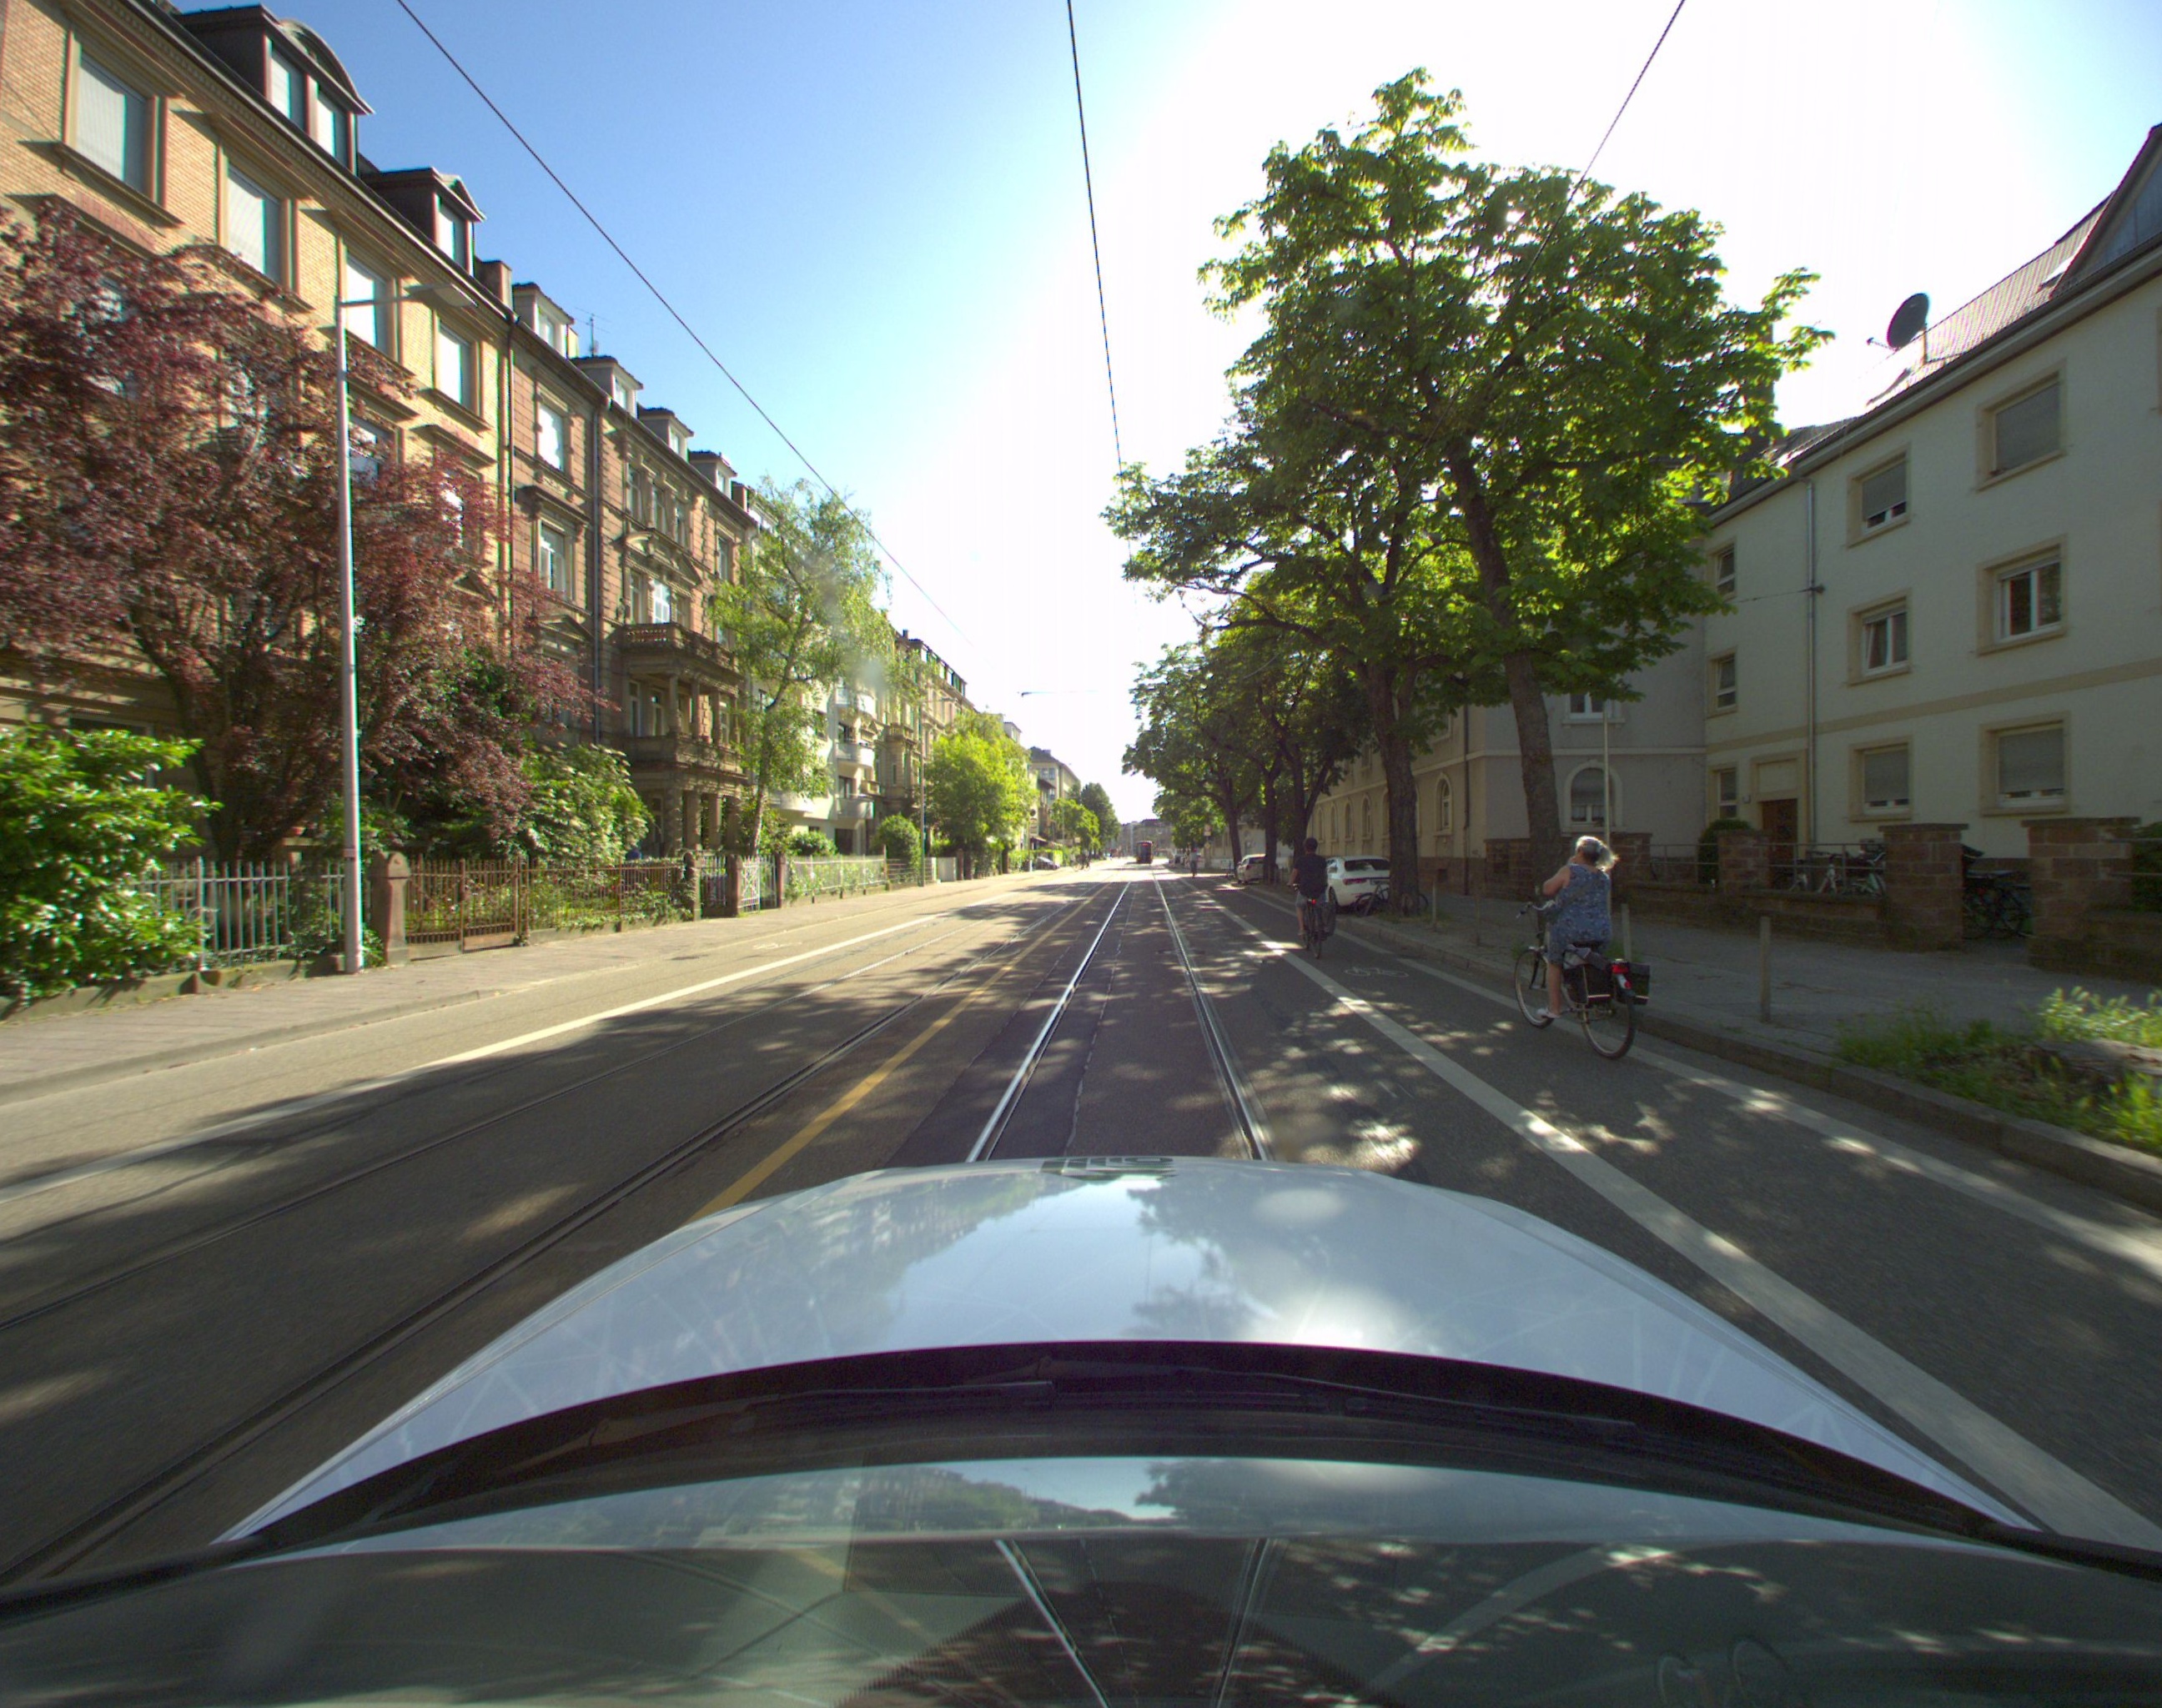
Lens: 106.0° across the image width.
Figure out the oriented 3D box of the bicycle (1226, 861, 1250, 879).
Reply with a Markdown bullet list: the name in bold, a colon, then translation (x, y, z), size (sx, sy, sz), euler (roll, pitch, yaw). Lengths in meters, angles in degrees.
- **bicycle**: translation (8.853, 0.908, 45.936), size (1.261, 1.024, 0.706), euler (1, -1, 12)

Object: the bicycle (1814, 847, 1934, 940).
- **bicycle**: translation (11.004, 0.510, 11.352), size (0.432, 1.223, 1.375), euler (0, 0, 5)

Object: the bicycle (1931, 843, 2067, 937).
- **bicycle**: translation (12.717, 0.470, 11.333), size (0.432, 1.223, 1.375), euler (0, 0, 5)

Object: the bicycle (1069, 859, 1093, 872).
- **bicycle**: translation (-0.015, 1.060, 75.819), size (2.122, 1.171, 0.806), euler (1, 0, 19)

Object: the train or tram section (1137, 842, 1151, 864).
- **train or tram section**: translation (10.075, -0.225, 130.520), size (2.144, 3.431, 6.619), euler (1, 0, 4)

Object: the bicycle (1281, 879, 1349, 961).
- **bicycle**: translation (3.594, 0.976, 12.645), size (0.688, 1.112, 1.721), euler (1, 0, 5)

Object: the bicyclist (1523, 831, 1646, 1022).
- **bicyclist**: translation (4.043, 0.554, 6.577), size (0.632, 1.468, 0.616), euler (1, 0, 4)

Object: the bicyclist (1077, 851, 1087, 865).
- **bicyclist**: translation (0.110, 0.400, 75.769), size (0.765, 1.291, 0.737), euler (1, 0, 20)

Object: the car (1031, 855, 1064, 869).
- **car**: translation (-3.482, 0.863, 84.778), size (1.768, 1.420, 3.540), euler (0, -2, -36)

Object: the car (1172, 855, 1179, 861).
- **car**: translation (25.628, 1.003, 220.799), size (1.863, 1.662, 3.519), euler (1, 0, 4)

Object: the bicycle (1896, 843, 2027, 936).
- **bicycle**: translation (12.237, 0.463, 11.370), size (0.432, 1.223, 1.375), euler (0, 0, 5)

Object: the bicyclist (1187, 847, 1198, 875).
- **bicyclist**: translation (7.203, 0.430, 52.729), size (0.642, 1.796, 0.957), euler (1, 0, 4)

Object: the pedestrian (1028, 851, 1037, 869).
- **pedestrian**: translation (-4.487, 0.545, 75.181), size (0.766, 1.712, 0.670), euler (1, 0, 4)

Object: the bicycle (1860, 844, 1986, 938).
- **bicycle**: translation (11.734, 0.482, 11.399), size (0.432, 1.223, 1.375), euler (0, 0, 5)

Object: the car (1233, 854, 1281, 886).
- **car**: translation (8.652, 0.746, 40.408), size (1.741, 1.420, 4.004), euler (-2, 0, 4)

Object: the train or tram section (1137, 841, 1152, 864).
- **train or tram section**: translation (9.605, -0.193, 123.892), size (2.144, 3.431, 6.619), euler (1, 0, 4)

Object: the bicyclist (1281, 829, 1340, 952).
- **bicyclist**: translation (3.568, 0.547, 12.720), size (0.724, 1.848, 0.837), euler (1, 0, 3)

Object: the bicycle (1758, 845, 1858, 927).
- **bicycle**: translation (11.374, 0.467, 12.784), size (0.432, 1.223, 1.375), euler (0, 0, 5)

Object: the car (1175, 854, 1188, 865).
- **car**: translation (15.198, 0.862, 123.300), size (1.746, 1.552, 3.681), euler (0, 0, 4)

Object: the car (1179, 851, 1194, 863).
- **car**: translation (13.810, 0.371, 106.817), size (1.746, 1.552, 3.681), euler (1, 0, 4)

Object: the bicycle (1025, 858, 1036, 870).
- **bicycle**: translation (-4.470, 0.865, 72.047), size (0.633, 1.069, 1.824), euler (0, 0, -12)

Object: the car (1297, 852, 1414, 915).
- **car**: translation (7.169, 0.703, 21.771), size (1.622, 1.436, 4.666), euler (-2, 0, 1)

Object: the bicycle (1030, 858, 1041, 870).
- **bicycle**: translation (-4.072, 0.902, 73.041), size (0.633, 1.069, 1.823), euler (0, 0, -13)

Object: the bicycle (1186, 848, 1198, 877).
- **bicycle**: translation (7.260, 0.517, 53.284), size (0.659, 1.859, 2.263), euler (1, 0, 6)

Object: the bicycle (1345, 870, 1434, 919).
- **bicycle**: translation (7.167, 0.928, 18.979), size (1.784, 1.019, 0.621), euler (-3, 0, 3)

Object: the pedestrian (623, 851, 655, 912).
- **pedestrian**: translation (-12.335, 0.760, 22.741), size (0.511, 1.673, 0.608), euler (1, 0, 3)

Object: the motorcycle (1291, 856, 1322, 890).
- **motorcycle**: translation (8.794, 0.718, 31.786), size (0.706, 1.243, 2.187), euler (-2, 0, 4)

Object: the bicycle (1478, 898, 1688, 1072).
- **bicycle**: translation (4.040, 0.984, 6.763), size (0.688, 1.112, 1.920), euler (1, 0, 5)
